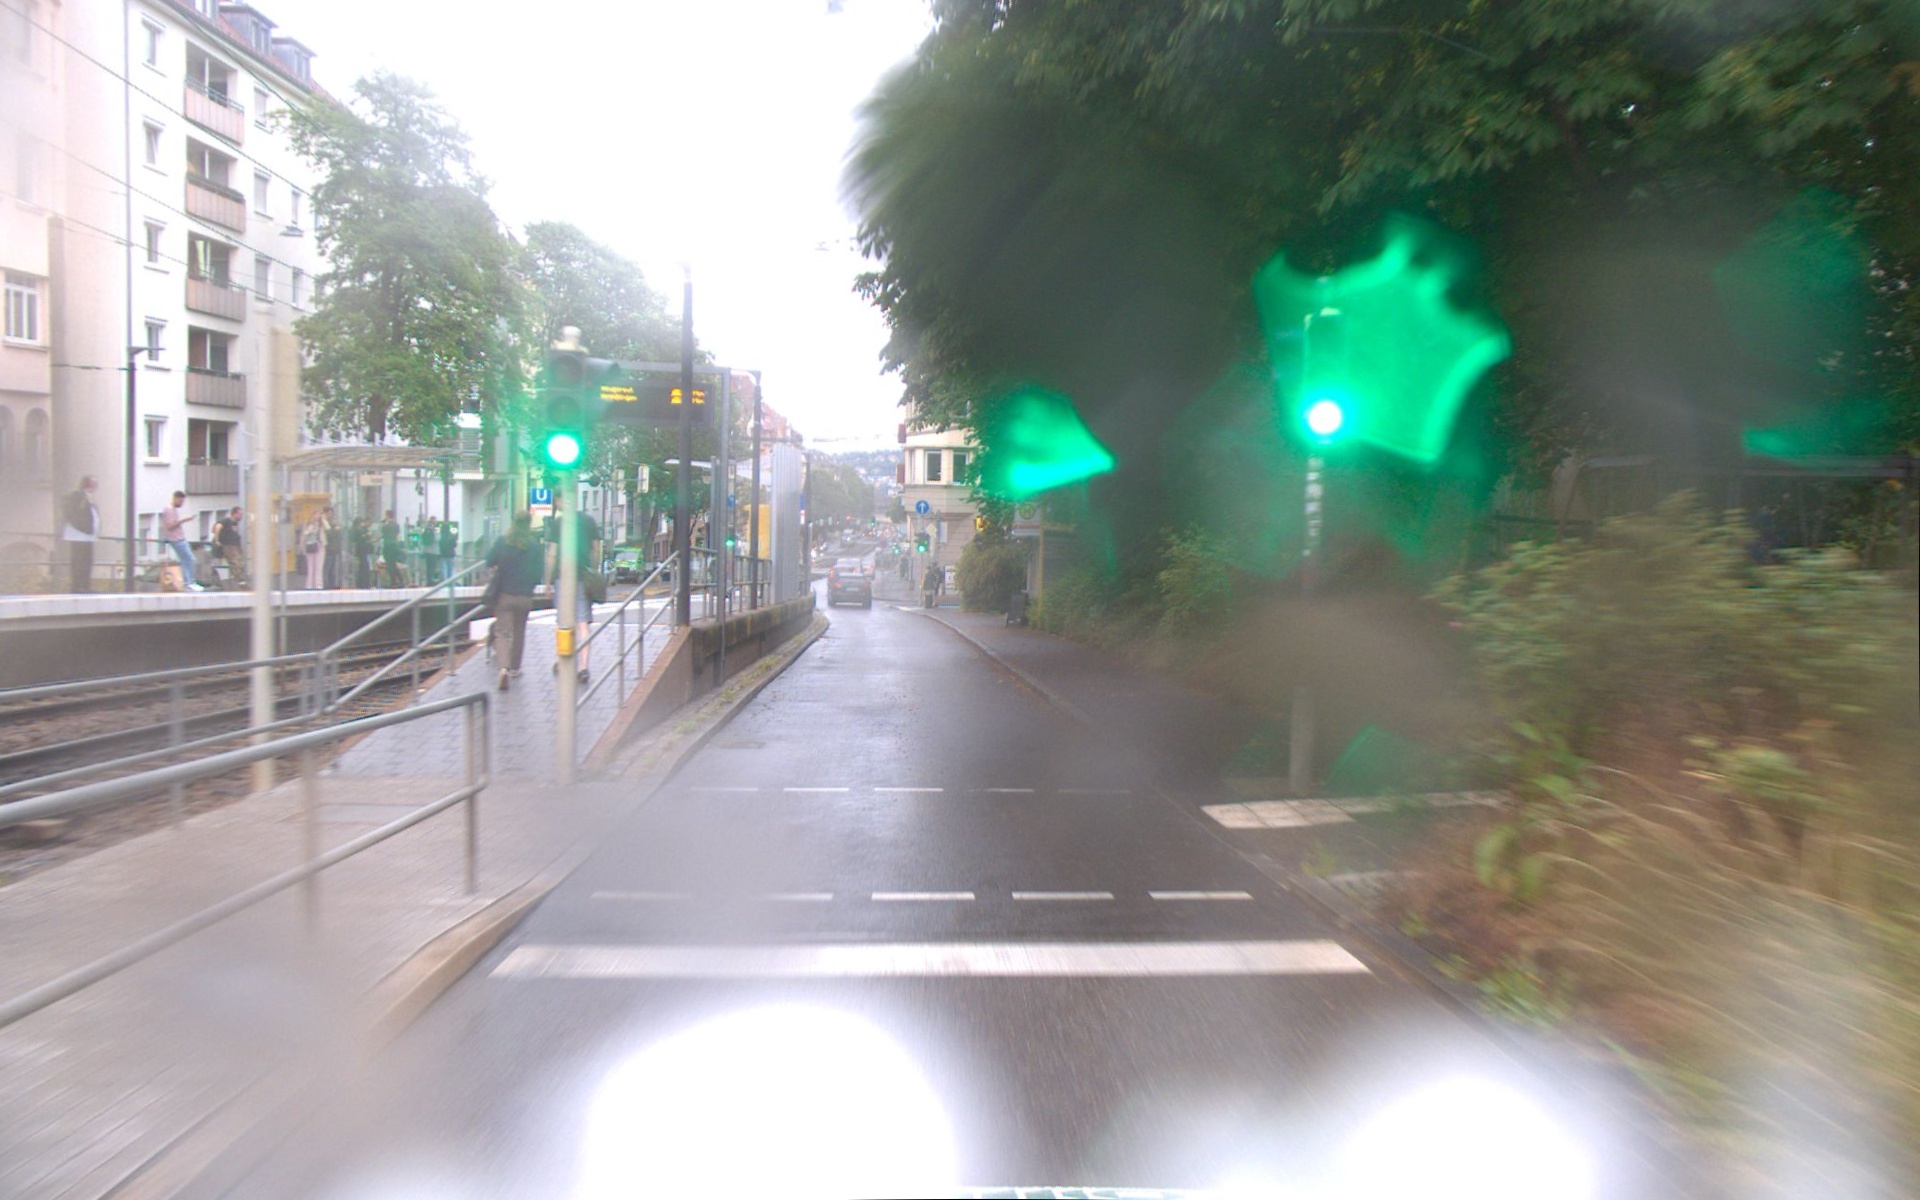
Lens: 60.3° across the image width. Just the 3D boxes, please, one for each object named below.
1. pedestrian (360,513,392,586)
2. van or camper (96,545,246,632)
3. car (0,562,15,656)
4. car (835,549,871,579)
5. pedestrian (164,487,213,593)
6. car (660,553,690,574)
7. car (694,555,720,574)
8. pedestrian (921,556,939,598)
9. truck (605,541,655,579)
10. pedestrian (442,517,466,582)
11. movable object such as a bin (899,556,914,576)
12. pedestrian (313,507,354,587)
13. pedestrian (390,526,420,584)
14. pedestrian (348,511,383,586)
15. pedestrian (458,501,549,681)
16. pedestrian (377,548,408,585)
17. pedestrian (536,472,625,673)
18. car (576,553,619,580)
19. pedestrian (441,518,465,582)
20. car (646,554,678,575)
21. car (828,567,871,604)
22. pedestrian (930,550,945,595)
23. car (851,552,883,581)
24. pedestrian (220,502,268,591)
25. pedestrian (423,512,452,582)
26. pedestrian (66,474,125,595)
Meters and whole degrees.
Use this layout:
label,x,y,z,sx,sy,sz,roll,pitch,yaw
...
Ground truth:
label,x,y,z,sx,sy,sz,roll,pitch,yaw
pedestrian,-13.803,-1.189,39.103,0.539,1.695,0.614,-1,1,-3
van or camper,-19.594,-0.341,41.269,1.954,2.048,3.998,0,2,-3
car,-18.862,0.187,28.860,1.953,1.762,4.814,-1,0,0
car,-5.666,-1.877,87.235,1.815,1.499,3.997,1,1,-4
pedestrian,-13.834,-1.072,29.656,0.505,1.870,0.762,-1,1,-3
car,-22.381,-2.855,130.026,1.738,1.573,4.253,-1,2,-3
car,-22.952,-3.246,150.135,1.737,1.647,4.254,-1,2,-2
pedestrian,-1.231,-0.935,67.545,0.681,1.724,0.555,1,1,-5
truck,-21.678,-2.598,108.877,2.009,2.434,6.322,0,1,1
pedestrian,-14.033,-1.392,45.880,0.473,1.771,0.563,-1,0,-3
movable object such as a bin,-4.490,-2.847,139.382,1.145,1.684,1.308,-1,2,-6
pedestrian,-13.490,-1.145,35.640,0.582,1.695,0.762,-1,1,-3
pedestrian,-13.815,-1.111,41.161,0.539,1.438,0.614,-1,1,-3
pedestrian,-13.652,-1.175,37.983,0.582,1.695,0.591,-1,1,-3
pedestrian,-4.195,-0.096,15.252,0.637,1.588,0.684,1,7,-2
pedestrian,-13.805,-0.823,40.265,0.539,0.887,0.614,-1,1,-3
pedestrian,-3.569,-0.280,15.618,0.637,1.813,0.848,1,7,-2
car,-21.619,-2.023,98.722,1.691,1.541,4.495,0,2,-1
pedestrian,-14.237,-1.396,46.460,0.473,1.771,0.563,-1,0,-3
car,-22.102,-2.632,122.790,1.738,1.478,4.253,-1,1,-3
car,-4.768,-0.634,71.452,1.815,1.499,3.998,0,2,-4
pedestrian,-0.935,-1.134,68.186,0.543,1.844,0.650,1,1,-5
car,-5.967,-2.133,105.897,1.910,1.824,4.141,1,1,-4
pedestrian,-13.931,-1.032,32.191,0.582,1.695,0.762,-1,1,-3
pedestrian,-13.400,-1.355,42.432,0.539,1.771,0.614,-1,1,-3
pedestrian,-13.647,-1.024,26.122,0.505,1.870,0.762,-1,1,-3
